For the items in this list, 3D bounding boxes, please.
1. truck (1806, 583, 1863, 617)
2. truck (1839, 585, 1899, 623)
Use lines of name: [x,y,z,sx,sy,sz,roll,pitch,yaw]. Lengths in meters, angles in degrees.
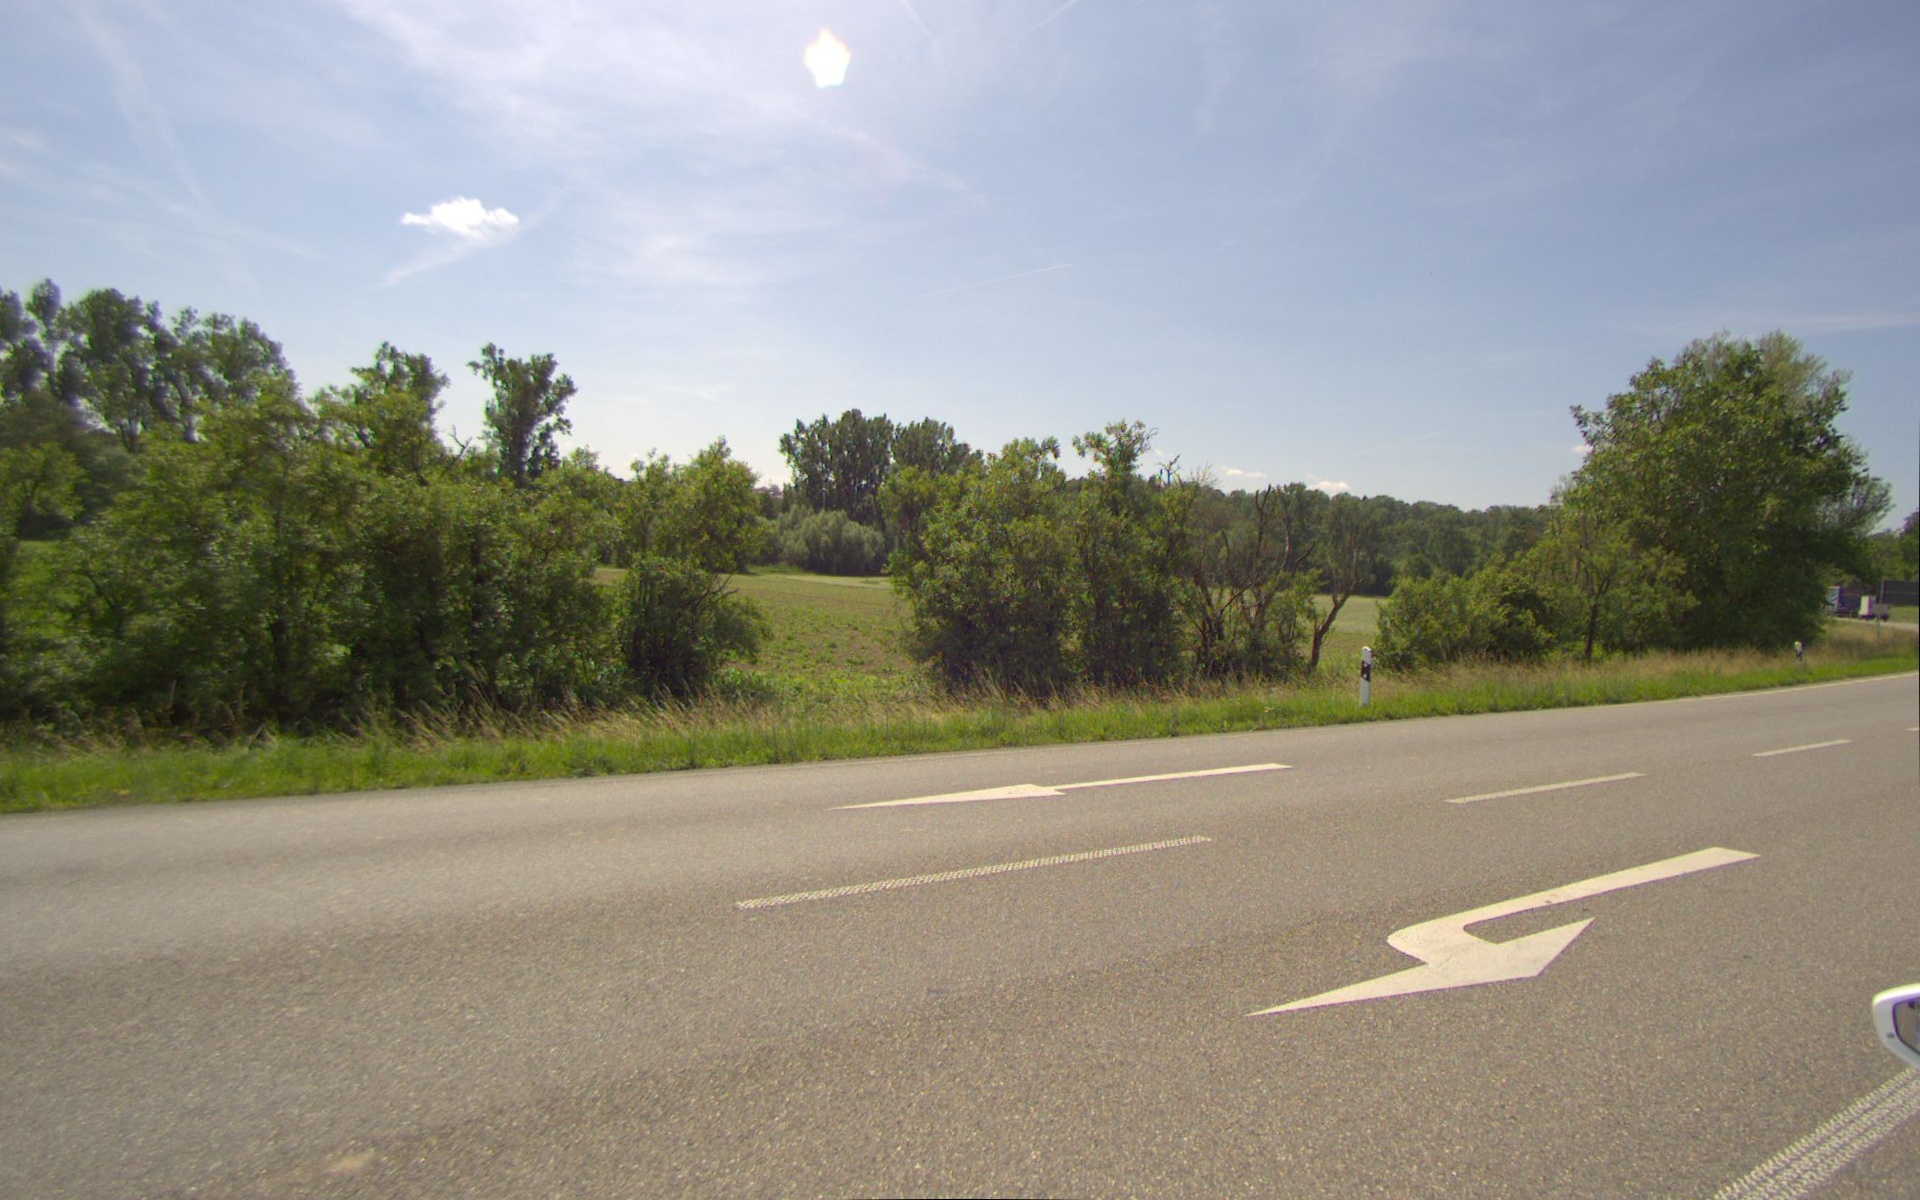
truck: [122.117,0.084,140.538,3.478,4.296,13.377,5,1,31]
truck: [114.168,0.615,126.375,3.588,4.184,13.058,5,1,34]
